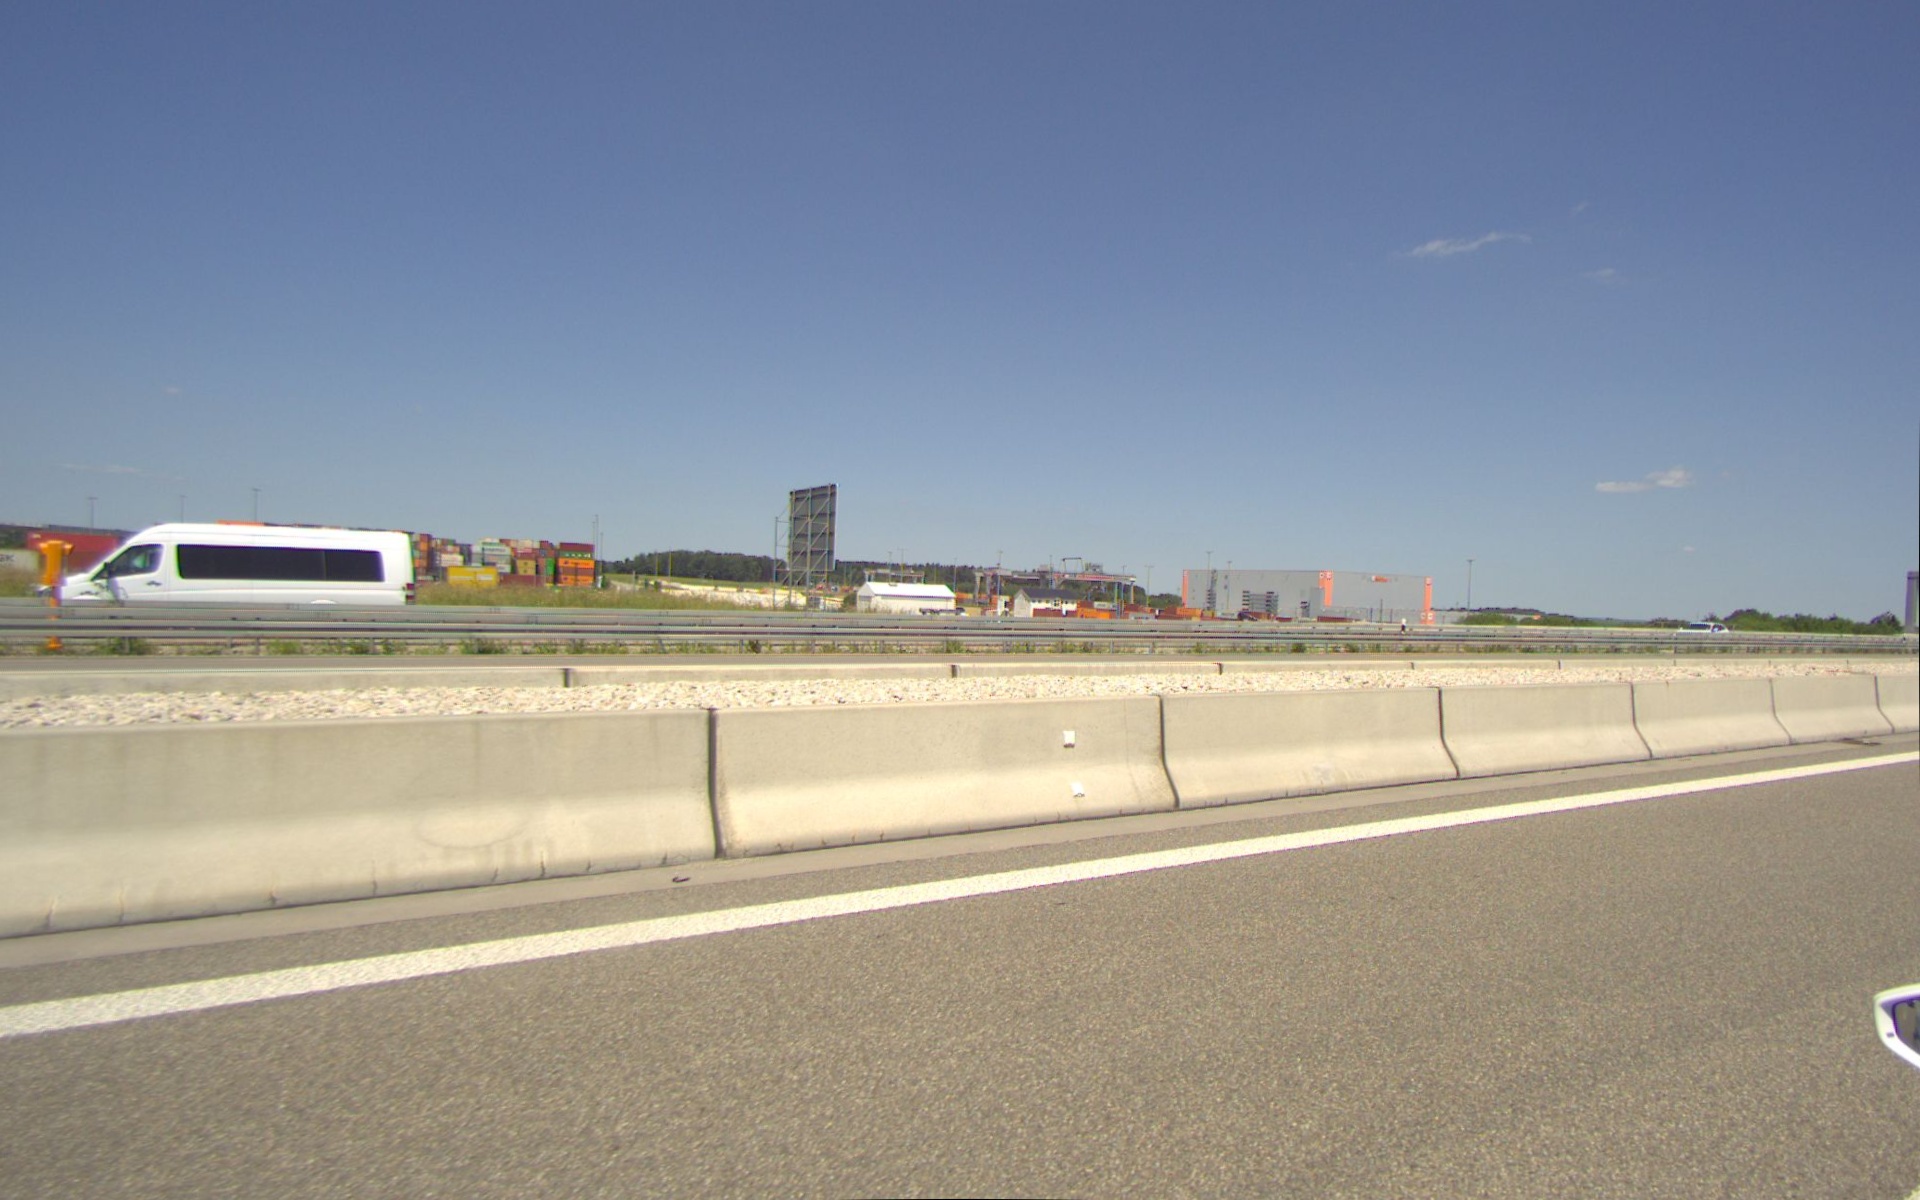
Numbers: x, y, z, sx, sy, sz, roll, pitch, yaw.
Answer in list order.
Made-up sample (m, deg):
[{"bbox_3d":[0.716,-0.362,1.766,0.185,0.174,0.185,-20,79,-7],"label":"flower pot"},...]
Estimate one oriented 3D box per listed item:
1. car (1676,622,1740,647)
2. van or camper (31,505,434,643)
[{"bbox_3d":[45.464,2.101,61.037,4.311,1.398,1.556,2,0,-31],"label":"car"},{"bbox_3d":[-16.927,-0.476,24.120,7.455,2.859,2.533,2,0,-31],"label":"van or camper"}]
